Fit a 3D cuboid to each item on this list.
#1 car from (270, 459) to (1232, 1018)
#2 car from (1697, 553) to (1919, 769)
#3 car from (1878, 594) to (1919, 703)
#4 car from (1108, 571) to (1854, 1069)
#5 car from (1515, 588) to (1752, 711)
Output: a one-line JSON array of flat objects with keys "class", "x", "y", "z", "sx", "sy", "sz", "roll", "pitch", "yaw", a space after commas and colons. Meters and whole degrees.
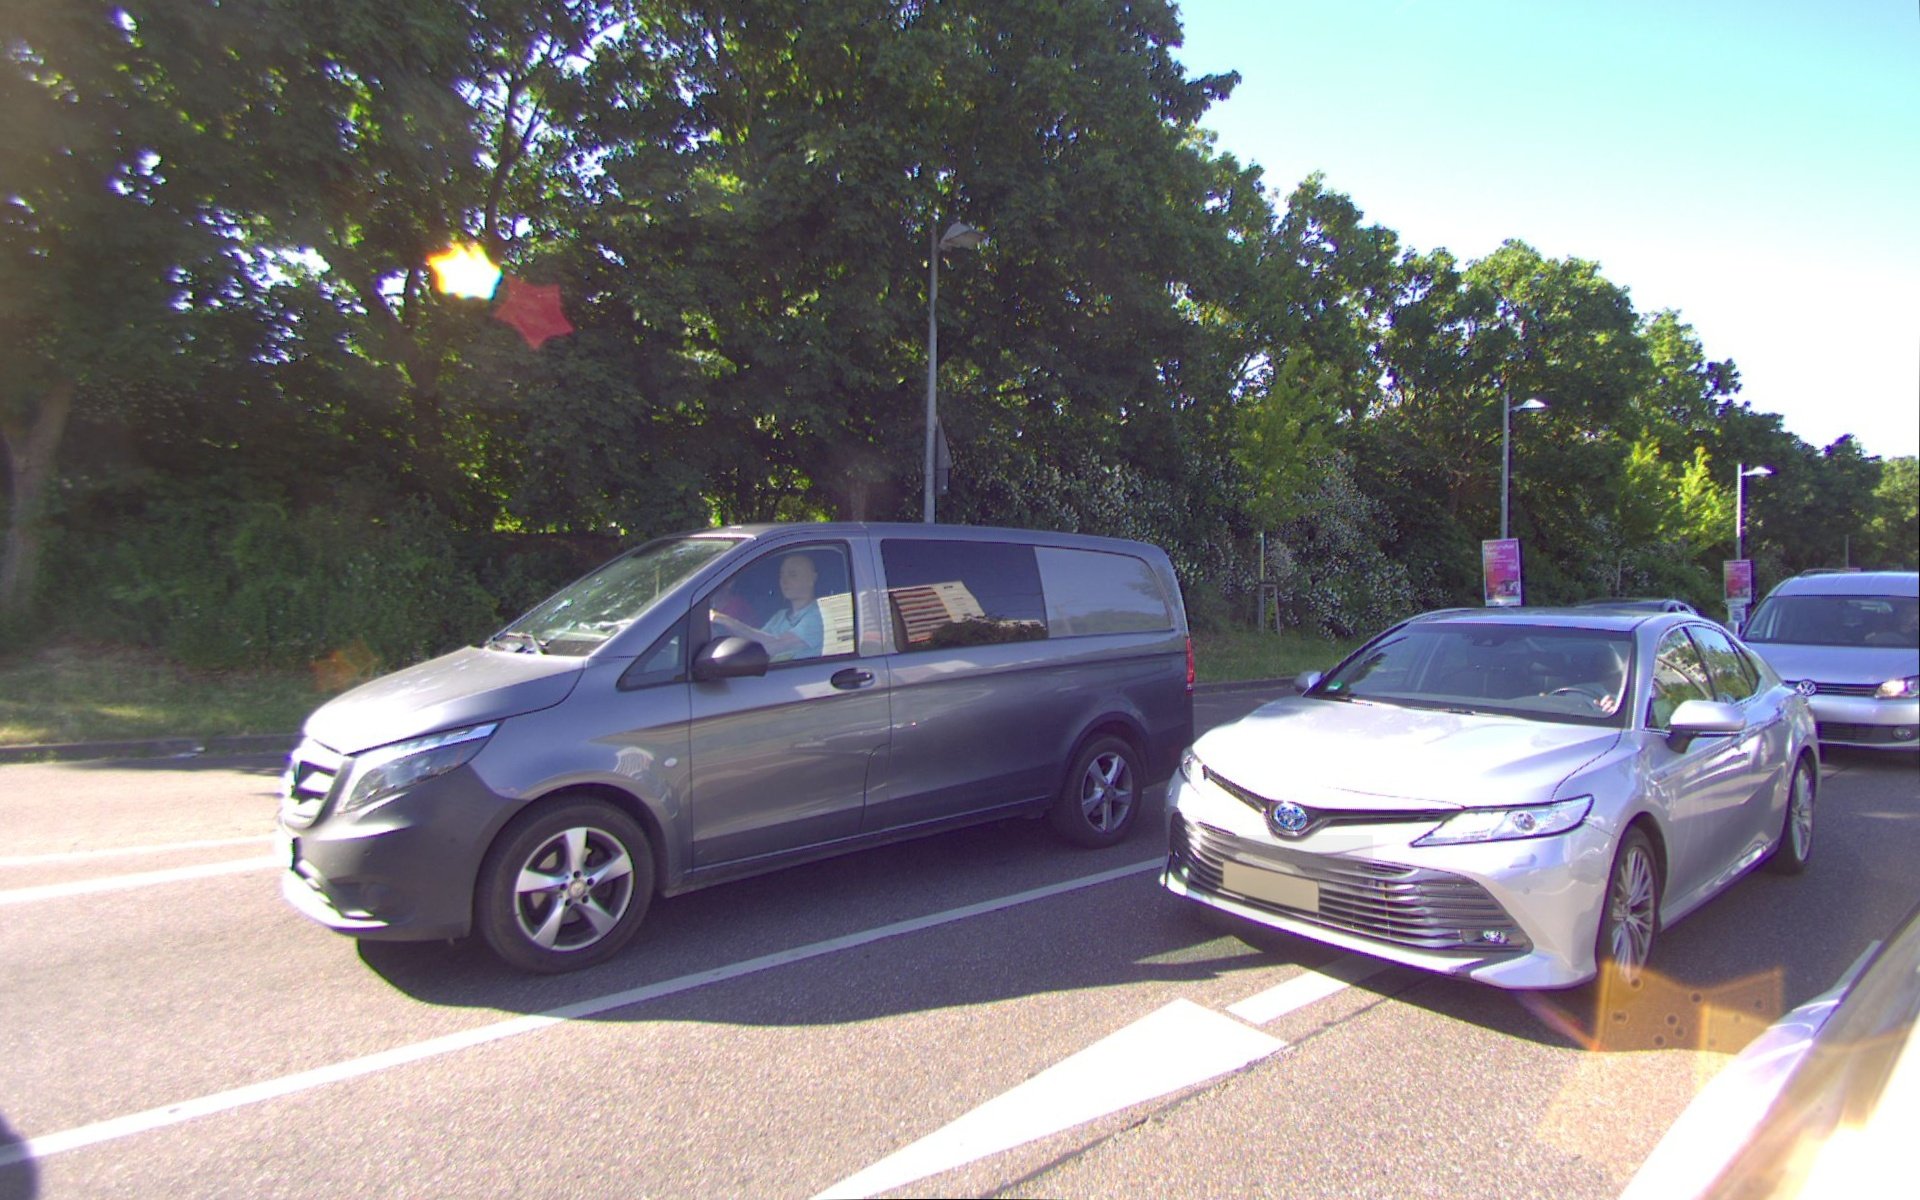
[{"class": "car", "x": -0.767, "y": 0.436, "z": 5.681, "sx": 5.011, "sy": 1.875, "sz": 1.809, "roll": 0, "pitch": 2, "yaw": -39}, {"class": "car", "x": 9.505, "y": 0.486, "z": 10.559, "sx": 4.504, "sy": 1.844, "sz": 1.809, "roll": -1, "pitch": 1, "yaw": -39}, {"class": "car", "x": 14.845, "y": 0.680, "z": 14.798, "sx": 4.126, "sy": 1.472, "sz": 1.715, "roll": 0, "pitch": 1, "yaw": -43}, {"class": "car", "x": 2.989, "y": 0.665, "z": 5.259, "sx": 4.599, "sy": 1.512, "sz": 1.808, "roll": 0, "pitch": 0, "yaw": -40}, {"class": "car", "x": 9.861, "y": 0.601, "z": 14.708, "sx": 4.151, "sy": 1.527, "sz": 1.771, "roll": -1, "pitch": 0, "yaw": -40}]
